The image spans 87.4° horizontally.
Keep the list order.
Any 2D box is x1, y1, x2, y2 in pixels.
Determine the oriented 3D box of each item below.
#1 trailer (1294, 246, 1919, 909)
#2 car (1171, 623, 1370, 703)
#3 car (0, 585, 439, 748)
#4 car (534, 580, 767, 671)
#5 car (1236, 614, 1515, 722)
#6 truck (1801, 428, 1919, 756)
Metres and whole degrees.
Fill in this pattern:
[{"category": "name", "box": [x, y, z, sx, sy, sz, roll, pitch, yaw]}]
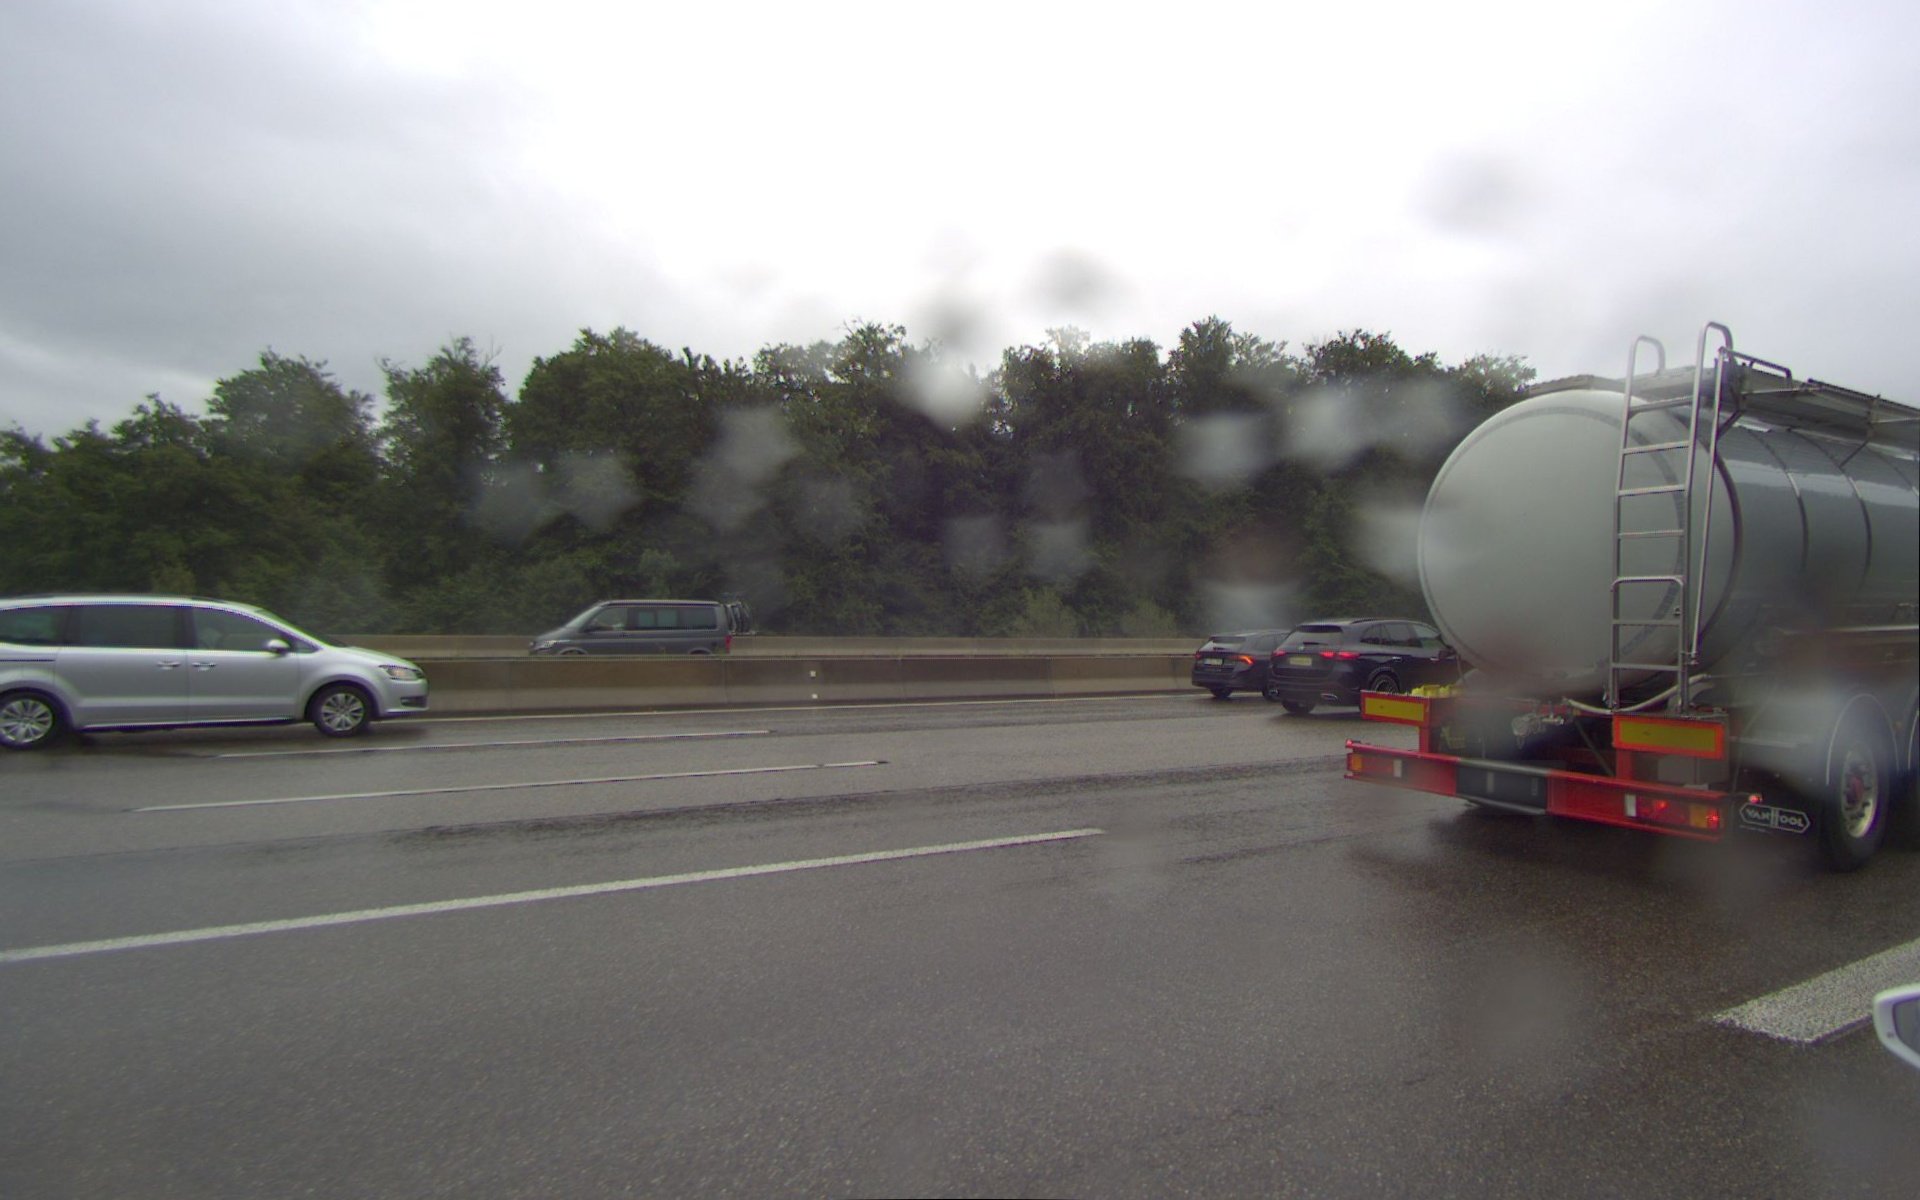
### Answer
[{"category": "trailer", "box": [7.481, 0.000, 8.913, 9.965, 3.332, 2.858, 2, -1, -32]}, {"category": "car", "box": [6.636, 1.290, 21.395, 3.953, 1.528, 1.873, 1, -1, -30]}, {"category": "car", "box": [-9.206, 0.742, 12.192, 5.022, 1.706, 1.984, 1, -1, -30]}, {"category": "car", "box": [-7.702, 0.671, 25.137, 5.187, 1.903, 2.041, 4, 2, -30]}, {"category": "car", "box": [7.177, 1.089, 17.217, 4.752, 1.615, 1.984, 1, -1, -31]}, {"category": "truck", "box": [13.244, -0.038, 12.444, 4.998, 3.742, 2.863, 1, -1, -31]}]
